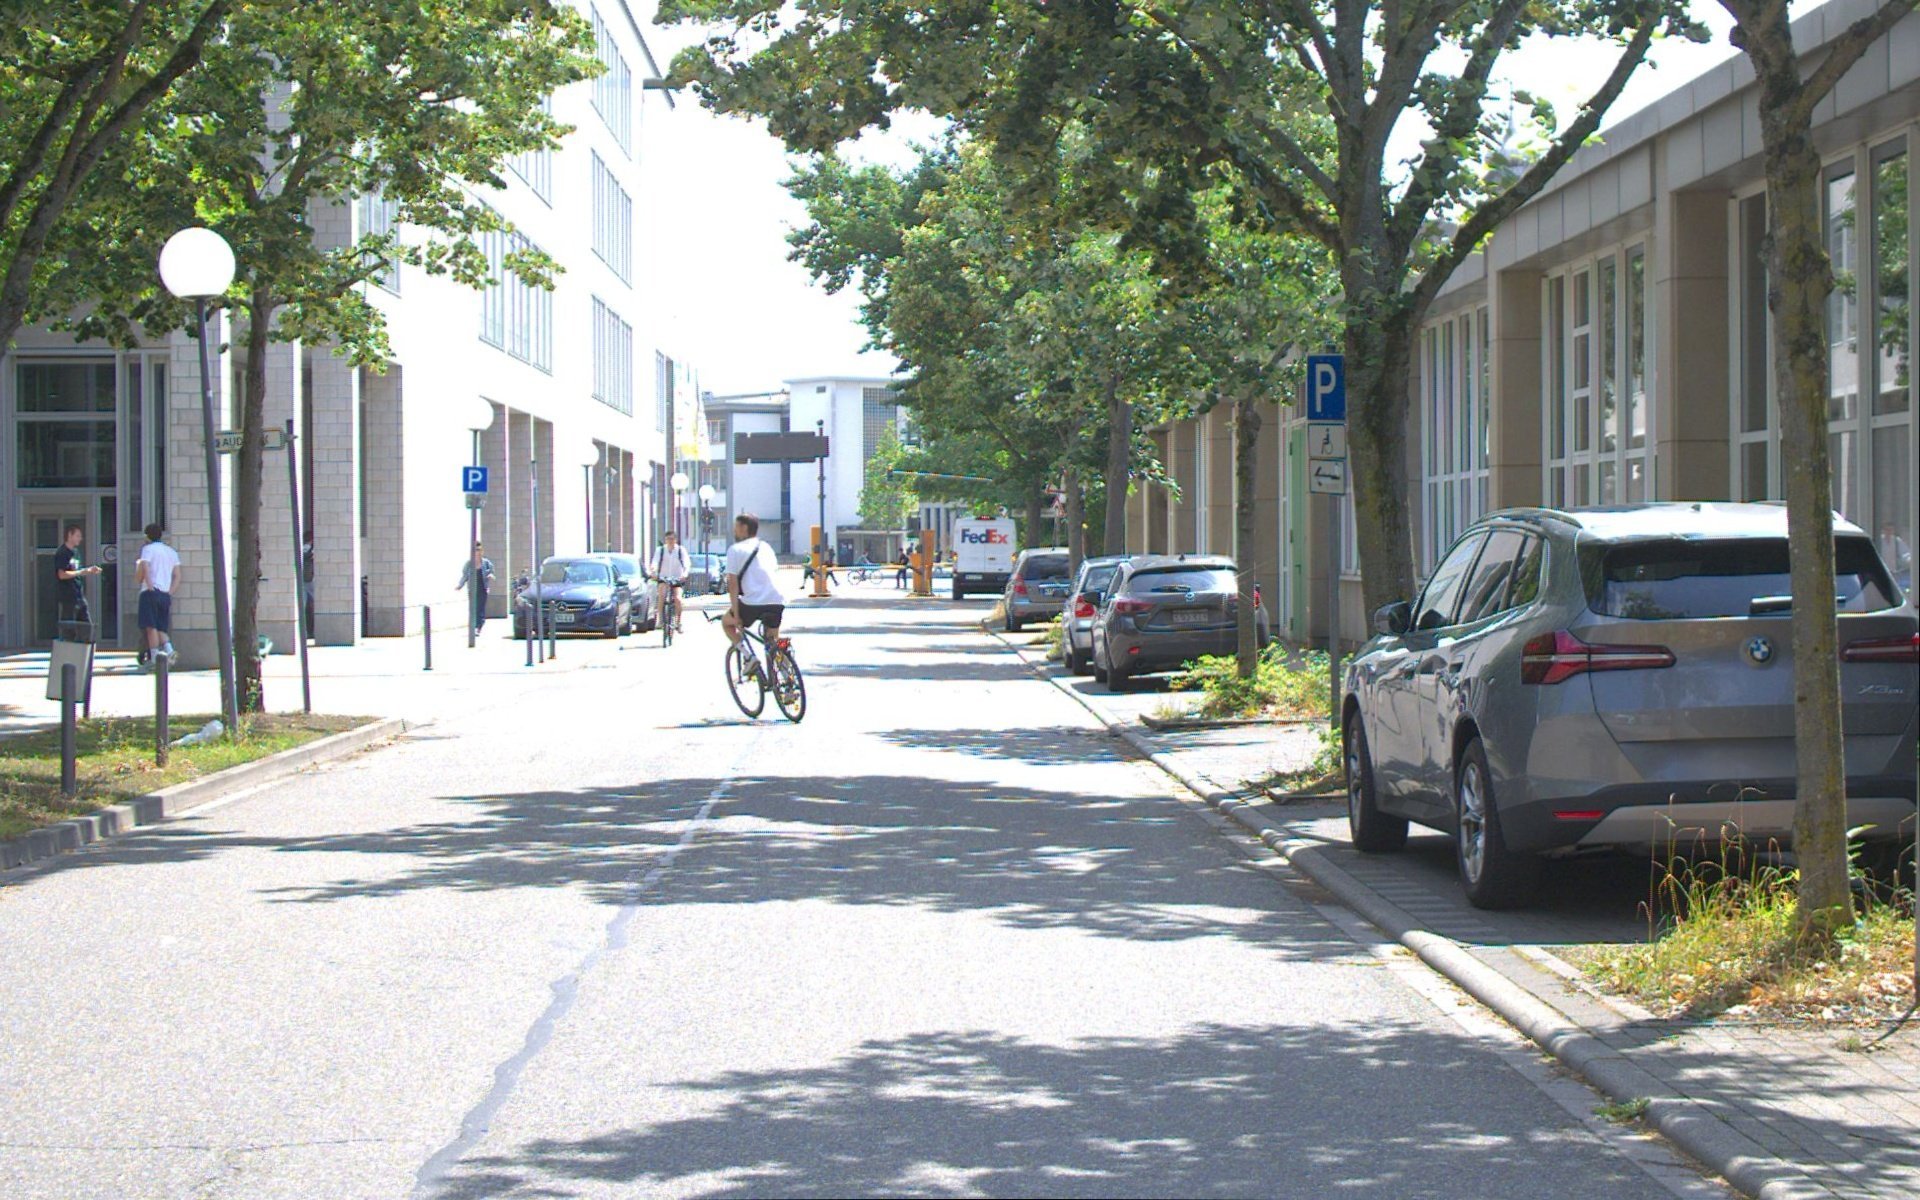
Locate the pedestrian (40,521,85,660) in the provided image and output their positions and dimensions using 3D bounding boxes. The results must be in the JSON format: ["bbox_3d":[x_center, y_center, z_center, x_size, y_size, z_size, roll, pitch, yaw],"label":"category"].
[{"bbox_3d":[-11.468,-0.127,43.933,0.441,1.769,0.451,0,1,-31],"label":"pedestrian"}]

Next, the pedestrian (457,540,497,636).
[{"bbox_3d":[-8.685,-0.221,61.825,0.649,1.695,0.889,0,1,-11],"label":"pedestrian"}]

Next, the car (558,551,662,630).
[{"bbox_3d":[-6.756,-0.197,66.671,1.631,1.479,4.178,0,0,-1],"label":"car"}]

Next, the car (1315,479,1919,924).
[{"bbox_3d":[2.866,0.386,15.448,1.822,1.658,4.584,-2,0,-3],"label":"car"}]

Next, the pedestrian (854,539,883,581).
[{"bbox_3d":[-4.645,-2.040,174.071,1.416,2.100,0.995,1,1,-4],"label":"pedestrian"}]

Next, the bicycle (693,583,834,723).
[{"bbox_3d":[-1.820,0.456,31.329,0.882,1.195,2.750,0,1,-12],"label":"bicycle"}]

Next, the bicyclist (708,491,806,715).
[{"bbox_3d":[-1.849,0.019,31.258,0.873,2.007,0.850,0,1,-4],"label":"bicyclist"}]

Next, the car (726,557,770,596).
[{"bbox_3d":[-8.588,-0.938,139.626,1.646,1.493,3.729,0,-1,-1],"label":"car"}]

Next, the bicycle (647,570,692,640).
[{"bbox_3d":[-4.863,0.076,57.580,0.685,1.126,1.889,0,1,-3],"label":"bicycle"}]

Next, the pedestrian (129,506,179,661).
[{"bbox_3d":[-10.158,-0.210,43.323,0.412,1.935,0.663,1,1,-30],"label":"pedestrian"}]

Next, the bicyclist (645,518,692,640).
[{"bbox_3d":[-4.874,-0.355,57.505,0.711,2.007,1.019,-1,1,-3],"label":"bicyclist"}]

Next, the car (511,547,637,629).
[{"bbox_3d":[-6.922,-0.218,62.033,1.766,1.423,4.234,0,0,1],"label":"car"}]

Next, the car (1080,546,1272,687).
[{"bbox_3d":[2.388,0.145,39.050,1.780,1.471,4.462,-2,1,-1],"label":"car"}]

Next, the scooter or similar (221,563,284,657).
[{"bbox_3d":[-9.458,0.123,46.004,0.454,1.219,1.549,0,1,3],"label":"scooter or similar"}]

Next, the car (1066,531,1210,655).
[{"bbox_3d":[2.275,-0.113,44.719,1.616,1.533,3.780,0,1,-1],"label":"car"}]

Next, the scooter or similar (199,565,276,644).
[{"bbox_3d":[-11.208,0.063,53.299,0.525,1.206,1.557,0,1,-38],"label":"scooter or similar"}]

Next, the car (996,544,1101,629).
[{"bbox_3d":[1.694,-0.279,66.914,1.858,1.568,4.000,-1,1,-1],"label":"car"}]

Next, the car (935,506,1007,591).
[{"bbox_3d":[0.311,-1.593,106.504,2.083,2.531,4.316,1,1,-1],"label":"car"}]

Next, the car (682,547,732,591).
[{"bbox_3d":[-9.356,-1.134,127.477,1.646,1.493,3.729,0,-1,-1],"label":"car"}]
